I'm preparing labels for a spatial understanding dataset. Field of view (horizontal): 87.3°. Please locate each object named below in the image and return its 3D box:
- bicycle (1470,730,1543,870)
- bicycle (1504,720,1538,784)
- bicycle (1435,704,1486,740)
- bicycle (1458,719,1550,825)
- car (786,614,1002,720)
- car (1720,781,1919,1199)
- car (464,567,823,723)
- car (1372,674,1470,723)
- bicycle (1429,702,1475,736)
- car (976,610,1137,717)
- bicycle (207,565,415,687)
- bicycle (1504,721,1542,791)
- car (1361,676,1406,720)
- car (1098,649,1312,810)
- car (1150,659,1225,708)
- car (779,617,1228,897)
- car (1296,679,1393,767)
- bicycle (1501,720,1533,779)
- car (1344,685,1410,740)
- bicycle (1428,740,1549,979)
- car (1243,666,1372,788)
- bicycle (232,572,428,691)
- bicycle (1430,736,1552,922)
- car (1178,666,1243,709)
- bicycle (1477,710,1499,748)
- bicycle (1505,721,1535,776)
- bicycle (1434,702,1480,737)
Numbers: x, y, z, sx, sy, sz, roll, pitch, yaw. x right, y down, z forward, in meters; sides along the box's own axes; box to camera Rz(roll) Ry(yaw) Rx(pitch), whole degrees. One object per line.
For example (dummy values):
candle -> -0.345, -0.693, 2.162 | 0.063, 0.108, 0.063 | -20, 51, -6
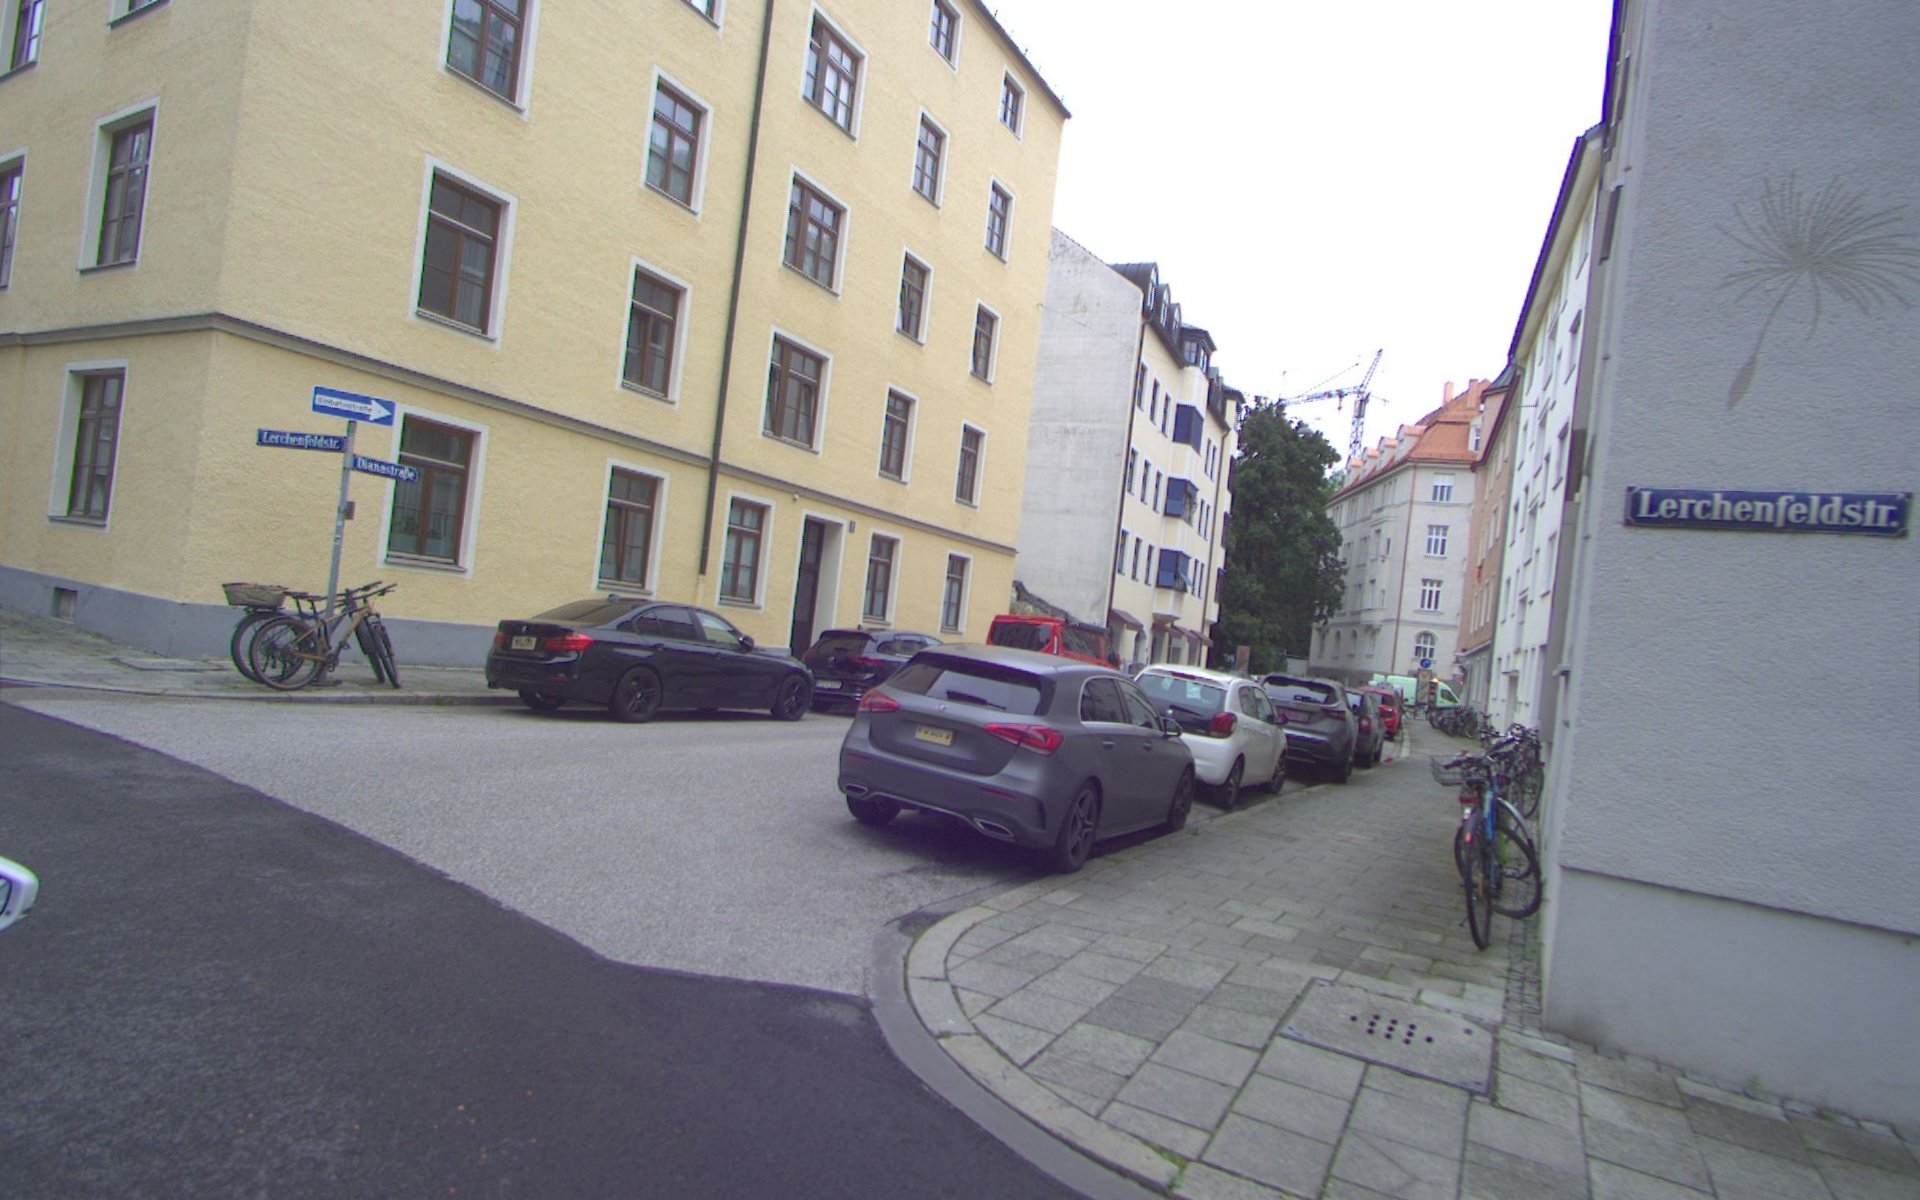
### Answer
bicycle -> 5.230, 1.846, 9.616 | 0.457, 1.128, 1.801 | 6, -2, 30
bicycle -> 11.043, 2.966, 19.796 | 0.457, 1.128, 1.801 | 6, -2, 30
bicycle -> 18.608, 4.531, 37.354 | 2.012, 1.128, 0.603 | 9, -2, -30
bicycle -> 7.039, 2.161, 13.011 | 0.865, 1.128, 2.053 | 6, -2, 30
car -> -0.998, 1.211, 17.389 | 1.683, 1.510, 3.983 | 4, -4, 30
car -> 2.876, 1.182, 0.390 | 3.885, 1.424, 1.823 | 6, -3, 31
car -> -3.737, 0.639, 12.687 | 1.682, 1.511, 4.222 | 5, -2, 29
car -> 31.697, 6.739, 69.310 | 5.885, 2.573, 2.001 | 6, -3, 25
bicycle -> 19.017, 4.613, 38.875 | 2.012, 1.128, 0.462 | 9, -2, -30
car -> 2.326, 1.519, 22.978 | 1.876, 2.075, 4.552 | 4, -3, 29
bicycle -> -7.095, 0.320, 11.105 | 0.496, 1.189, 1.811 | 8, 1, 29
bicycle -> 10.154, 2.788, 18.150 | 0.457, 1.128, 1.801 | 6, -2, 30
car -> 20.783, 4.801, 49.302 | 1.705, 1.813, 4.111 | 9, -2, 24
car -> 3.202, 1.563, 12.686 | 1.540, 1.453, 3.351 | 12, 1, 30
car -> 8.248, 3.040, 36.169 | 1.732, 1.505, 4.038 | 4, -3, 25
car -> 0.670, 1.115, 8.312 | 1.965, 1.416, 4.214 | 8, -1, 28
car -> 8.144, 2.532, 21.152 | 1.538, 1.434, 3.676 | 9, -1, 24
bicycle -> 11.871, 3.162, 21.432 | 0.457, 1.128, 1.801 | 6, -2, 30
car -> 13.746, 3.679, 33.079 | 1.705, 1.434, 3.677 | 9, -2, 24
bicycle -> 3.213, 1.462, 6.079 | 0.457, 1.128, 1.801 | 6, -2, 30
car -> 5.761, 1.971, 16.432 | 1.538, 1.545, 3.674 | 7, -1, 24
bicycle -> -6.710, 0.367, 10.809 | 0.367, 1.153, 1.716 | 8, 1, 30
bicycle -> 4.084, 1.668, 7.707 | 0.639, 1.128, 1.801 | 6, -2, 30
car -> 10.207, 3.552, 40.746 | 1.732, 1.505, 4.038 | 4, -3, 25
bicycle -> 16.973, 4.124, 32.328 | 0.457, 1.128, 1.801 | 6, -2, 30
bicycle -> 12.803, 3.373, 23.000 | 0.457, 1.128, 1.801 | 6, -2, 30
bicycle -> 18.868, 4.552, 38.174 | 2.012, 1.128, 0.462 | 9, -2, -30
